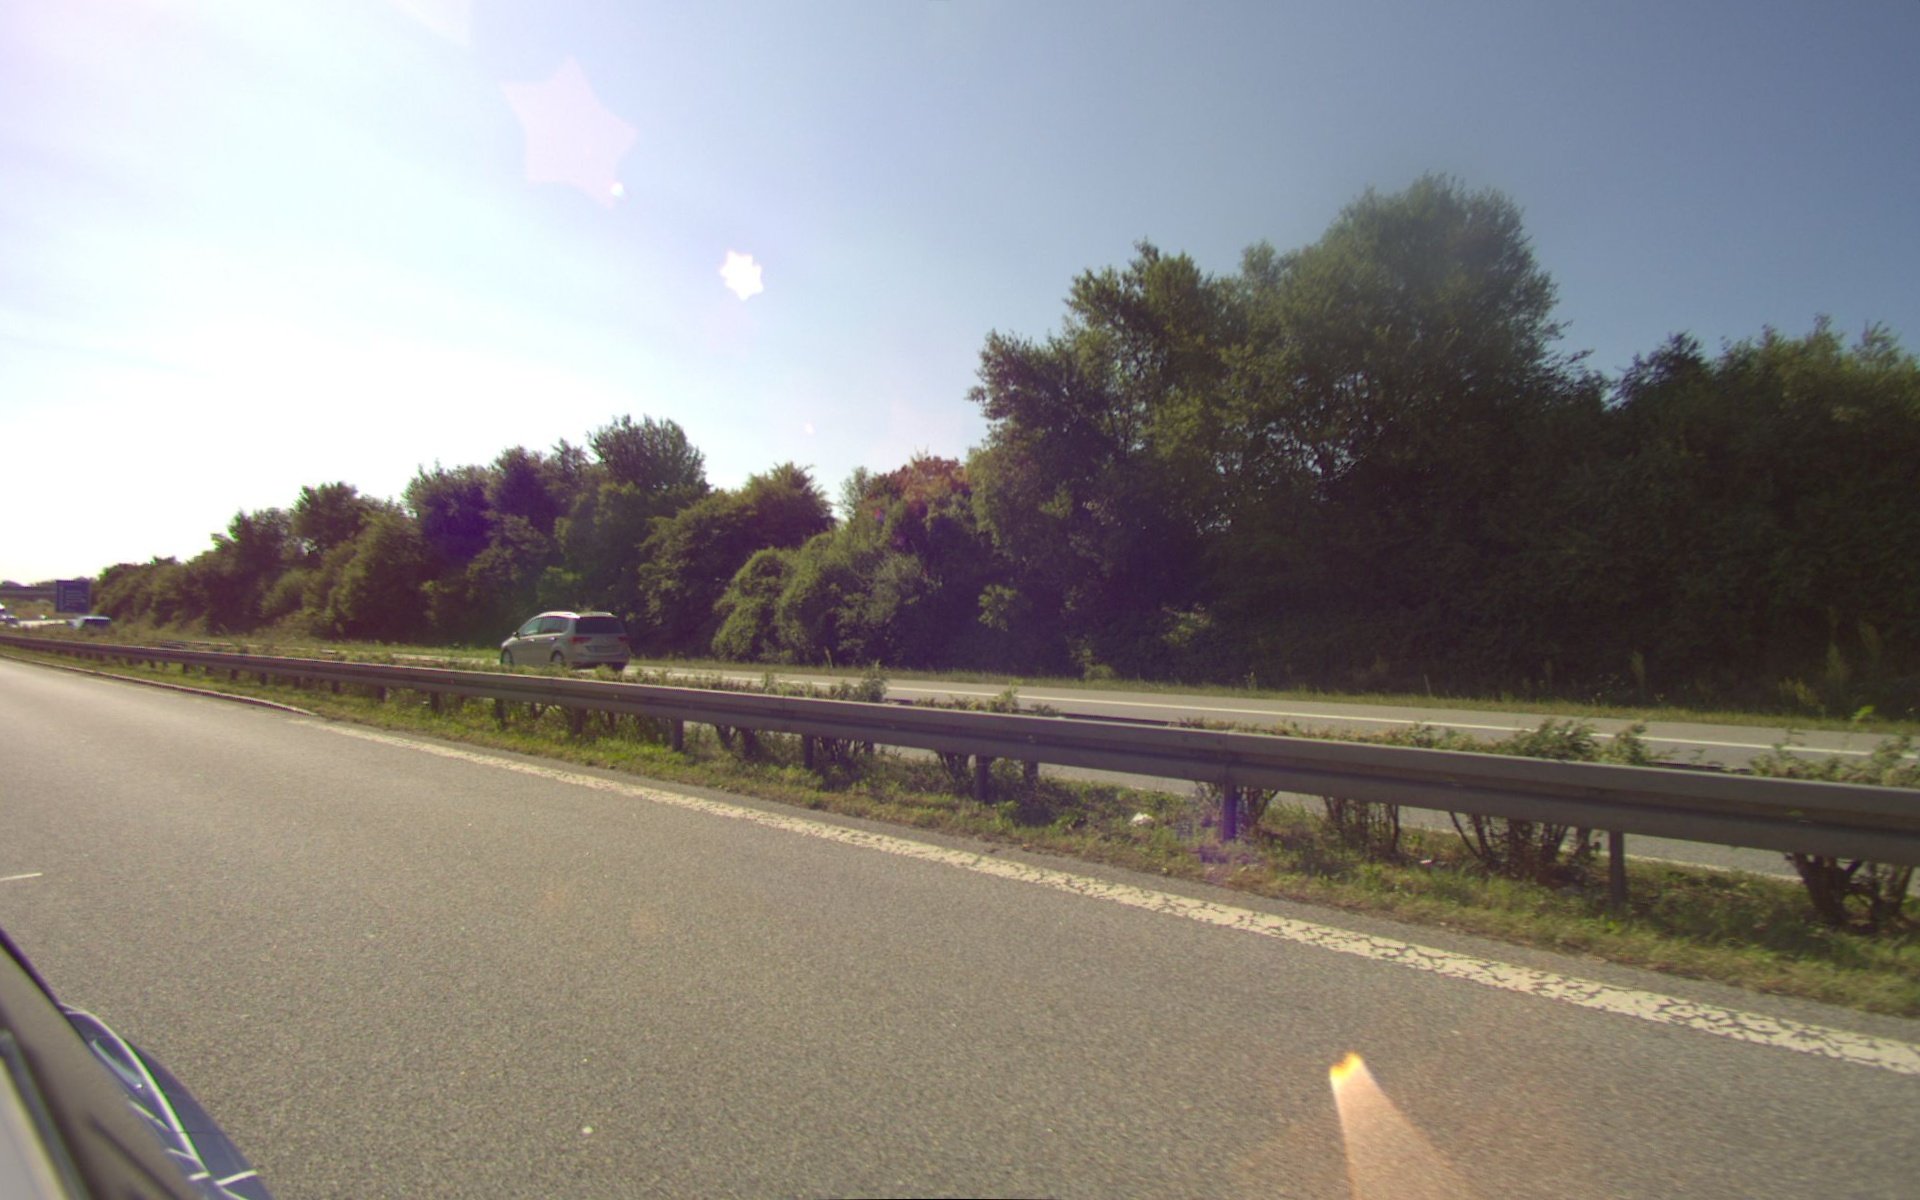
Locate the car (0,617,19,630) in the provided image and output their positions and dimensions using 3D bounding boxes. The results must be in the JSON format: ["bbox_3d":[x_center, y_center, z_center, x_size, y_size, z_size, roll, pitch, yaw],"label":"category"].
[{"bbox_3d":[-161.284,3.928,171.629,4.855,2.029,1.972,-1,-4,43],"label":"car"}]

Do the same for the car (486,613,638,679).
[{"bbox_3d":[-10.583,1.135,26.759,4.790,1.596,1.749,0,-1,41],"label":"car"}]

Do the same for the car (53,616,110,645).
[{"bbox_3d":[-48.559,1.686,55.934,4.227,1.506,1.749,0,-4,41],"label":"car"}]
